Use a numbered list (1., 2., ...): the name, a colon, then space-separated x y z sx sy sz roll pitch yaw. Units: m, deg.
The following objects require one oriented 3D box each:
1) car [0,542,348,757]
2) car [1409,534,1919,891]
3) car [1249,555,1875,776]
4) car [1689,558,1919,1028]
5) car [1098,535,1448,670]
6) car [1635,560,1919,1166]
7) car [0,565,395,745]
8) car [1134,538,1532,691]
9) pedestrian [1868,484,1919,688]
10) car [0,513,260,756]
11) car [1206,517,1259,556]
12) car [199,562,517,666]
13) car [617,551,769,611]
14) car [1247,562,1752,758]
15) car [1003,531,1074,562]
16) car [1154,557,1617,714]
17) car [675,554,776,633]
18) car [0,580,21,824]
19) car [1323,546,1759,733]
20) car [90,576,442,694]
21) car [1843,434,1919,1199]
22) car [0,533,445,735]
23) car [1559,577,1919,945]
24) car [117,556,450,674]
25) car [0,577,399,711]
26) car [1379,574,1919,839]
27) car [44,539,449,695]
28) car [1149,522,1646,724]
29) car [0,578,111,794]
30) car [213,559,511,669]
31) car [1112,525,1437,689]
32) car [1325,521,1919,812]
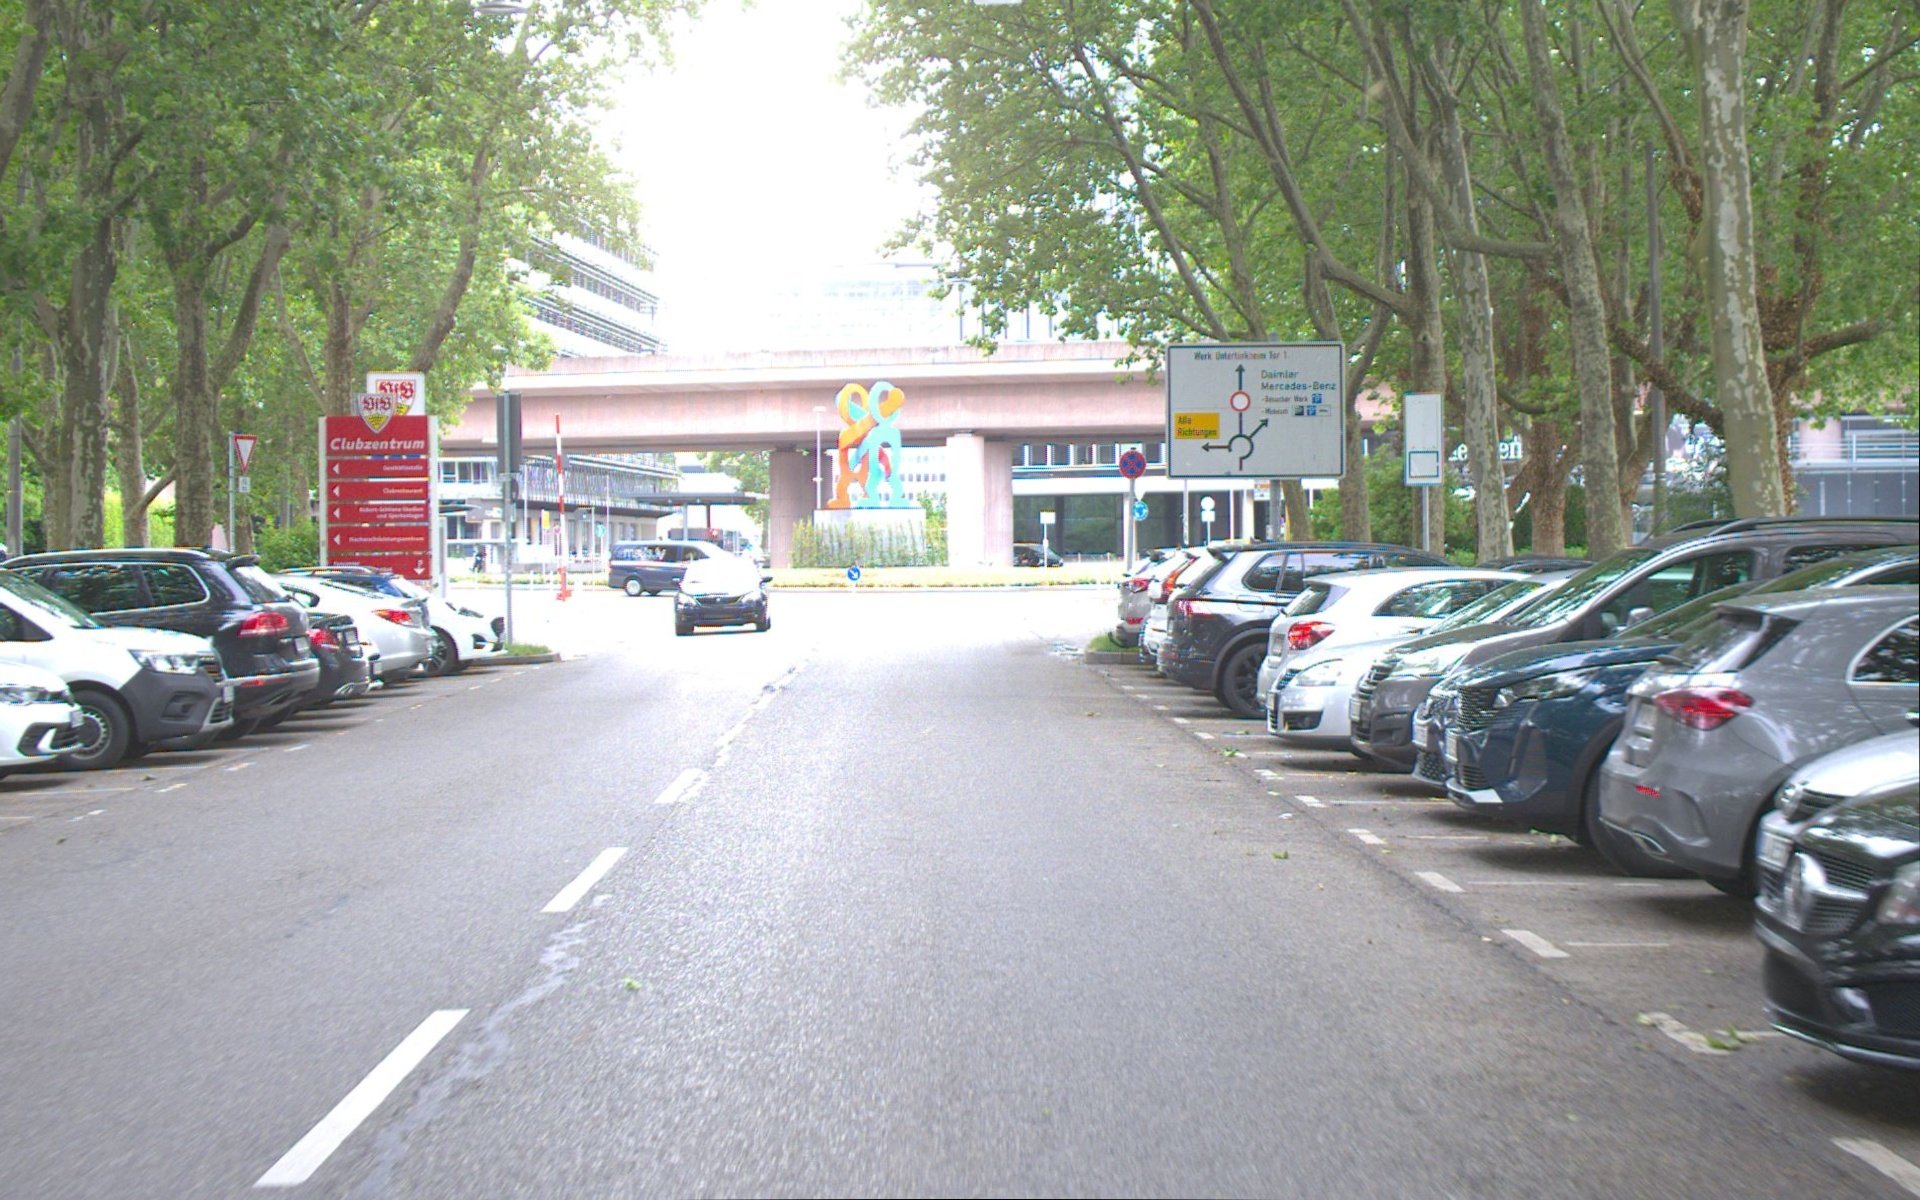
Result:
1. car: -7.646 0.400 29.805 4.317 1.789 2.037 0 0 0
2. car: 4.647 0.532 17.089 4.591 1.633 1.872 1 1 2
3. car: 4.232 0.443 24.613 4.148 1.453 1.727 1 1 0
4. car: 4.978 0.648 12.137 4.346 1.497 1.926 1 1 -1
5. car: 4.016 0.019 44.657 4.346 1.628 1.926 1 1 0
6. car: 4.347 0.683 9.810 4.345 1.497 1.926 1 1 -6
7. car: -7.581 0.513 32.249 4.129 1.447 2.013 -3 1 1
8. car: 4.240 0.148 39.614 4.346 1.628 1.926 1 1 0
9. pedestrian: 9.505 -0.138 34.058 0.784 2.007 0.599 0 0 -17
10. car: -7.895 0.300 27.287 4.317 1.804 1.868 -2 1 -4
11. car: 14.485 -3.385 182.724 1.995 2.007 3.997 0 0 17
12. car: -8.273 0.179 47.442 3.994 1.380 1.911 0 0 3
13. car: -9.129 -0.653 117.728 4.770 2.007 2.282 0 0 11
14. car: 4.206 0.455 27.157 3.639 1.422 1.666 1 1 -3
15. car: 4.514 -3.060 197.016 1.998 1.766 3.990 1 0 41
16. car: 4.231 0.336 34.670 4.346 1.451 1.950 1 1 -2
17. car: -4.557 -0.136 67.259 1.842 1.504 4.015 0 0 -2
18. car: -7.625 0.693 19.603 3.979 1.416 1.755 -3 1 3
19. car: 4.996 0.318 29.856 3.434 1.487 1.680 -2 1 -1
20. car: -8.536 0.419 42.512 3.987 1.400 1.862 0 0 -1
21. car: 4.458 0.570 7.370 4.494 1.790 2.048 1 1 -7
22. car: -7.458 0.320 34.262 4.317 1.804 1.868 -2 1 0
23. car: 4.898 0.661 14.586 4.346 1.408 1.926 1 1 0
24. car: -8.797 0.190 44.907 3.993 1.488 1.832 0 0 -1
25. car: -8.198 0.458 37.149 3.986 1.399 1.885 0 0 -2
26. car: 4.546 0.588 19.722 4.040 1.375 1.744 1 1 0
27. car: -8.194 0.180 39.770 4.263 1.543 1.908 -3 0 -2
28. car: 4.043 0.197 32.275 4.346 1.755 1.926 1 1 -2
29. car: -8.091 0.656 24.591 3.781 1.467 1.765 -2 1 -11
30. car: -8.633 0.195 49.852 3.994 1.535 1.805 0 0 1
31. car: 4.030 0.071 44.535 3.987 2.007 2.000 1 1 0
32. car: 4.660 0.398 22.138 4.346 1.739 1.837 1 1 -2
